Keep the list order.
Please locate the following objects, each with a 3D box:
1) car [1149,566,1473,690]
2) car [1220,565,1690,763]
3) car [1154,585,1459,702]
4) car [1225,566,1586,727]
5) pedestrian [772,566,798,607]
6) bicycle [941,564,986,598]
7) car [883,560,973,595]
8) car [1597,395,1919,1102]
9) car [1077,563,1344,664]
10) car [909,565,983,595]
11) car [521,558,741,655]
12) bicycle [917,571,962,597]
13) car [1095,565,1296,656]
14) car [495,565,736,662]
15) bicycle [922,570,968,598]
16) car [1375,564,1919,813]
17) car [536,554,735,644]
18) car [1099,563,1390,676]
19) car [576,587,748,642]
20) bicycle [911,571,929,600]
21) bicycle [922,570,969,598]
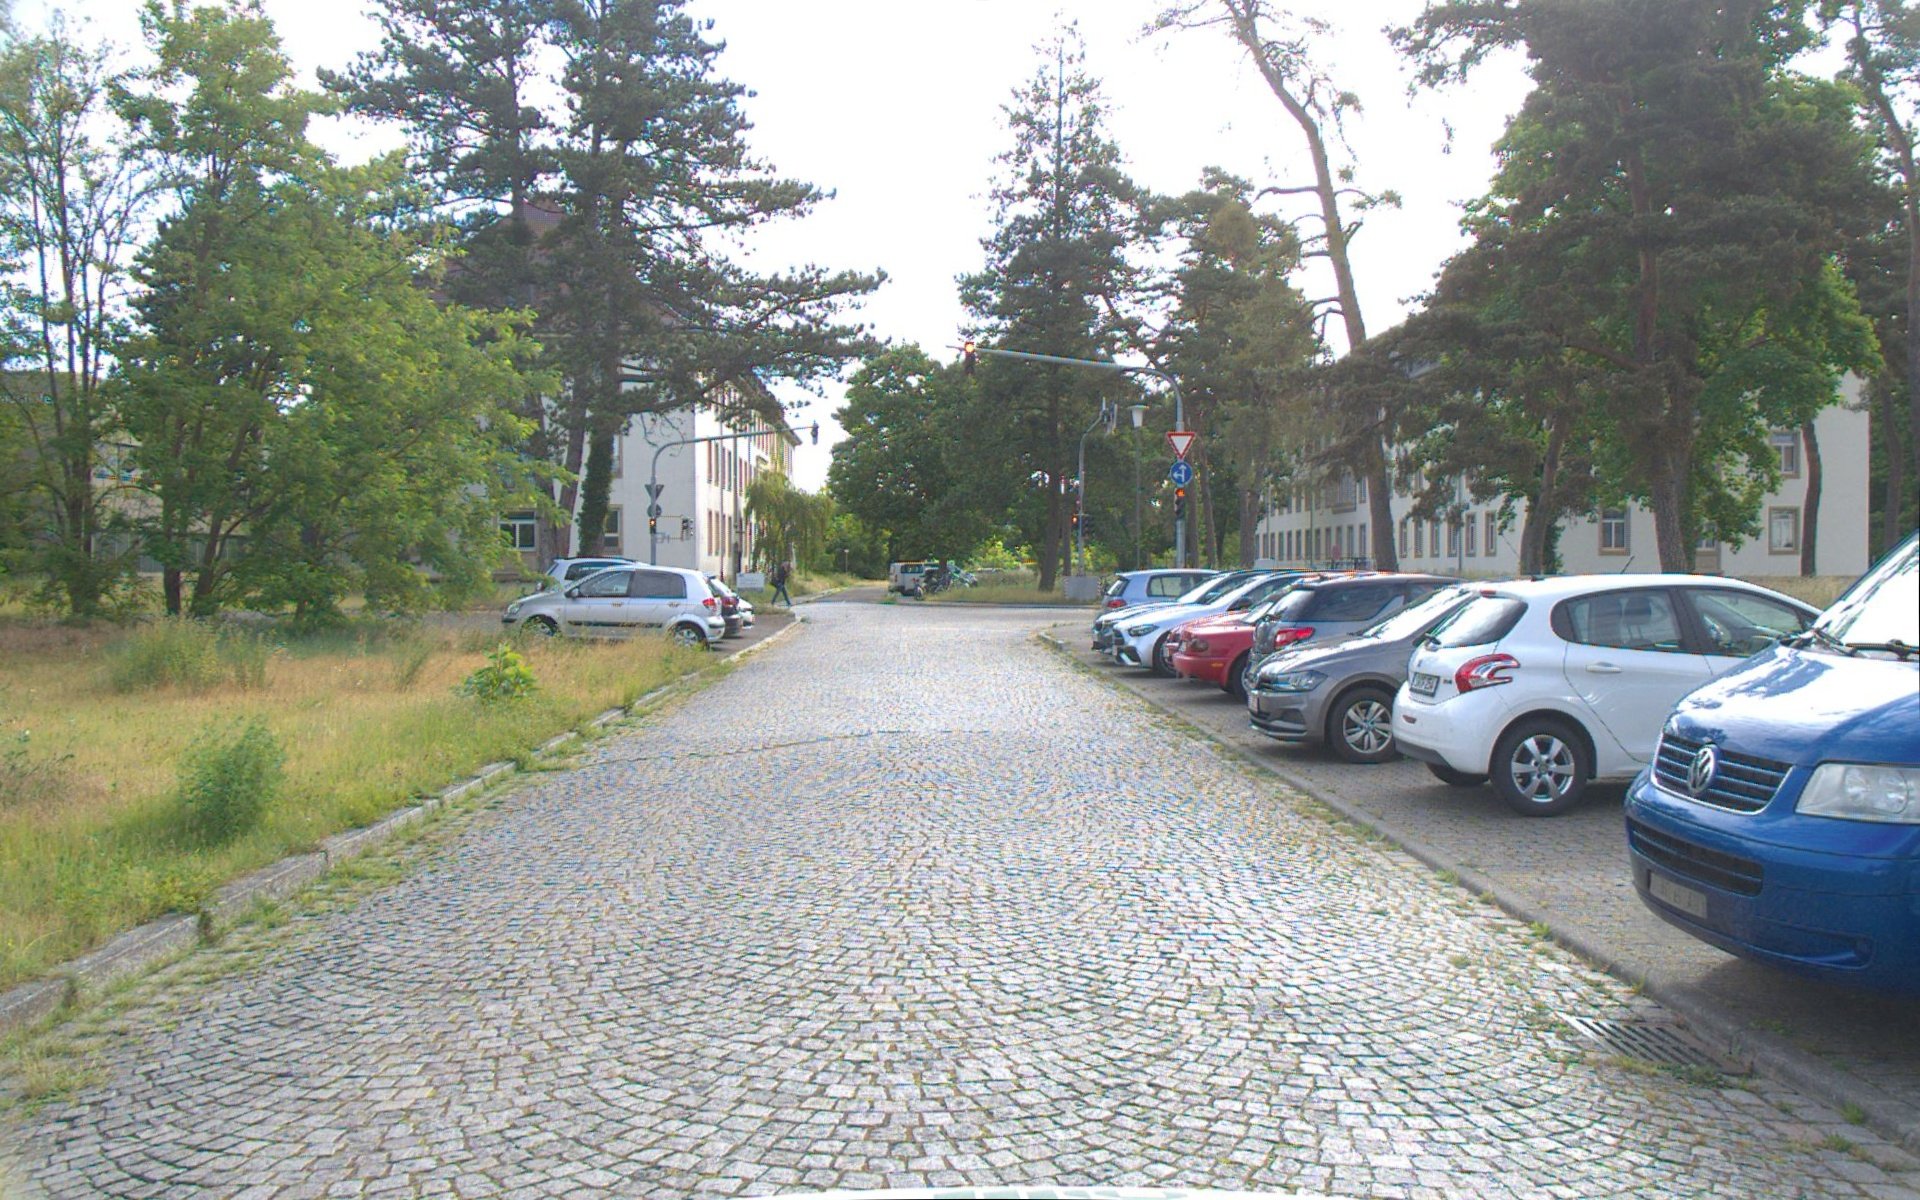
[{"bbox_3d":[4.633,0.338,22.077,3.912,1.570,1.661,0,1,-8],"label":"car"},{"bbox_3d":[4.195,0.480,14.216,3.535,1.533,1.659,-1,1,-13],"label":"car"},{"bbox_3d":[4.098,0.481,19.809,3.230,1.289,1.661,0,1,-8],"label":"car"},{"bbox_3d":[4.561,0.426,17.110,3.235,1.530,1.659,-1,1,-13],"label":"car"},{"bbox_3d":[-6.634,-0.519,62.790,0.880,1.524,0.904,0,1,-1],"label":"pedestrian"},{"bbox_3d":[0.165,-0.934,79.811,2.120,1.644,0.811,0,1,-9],"label":"bicycle"},{"bbox_3d":[-1.853,-1.314,96.263,4.962,2.049,1.994,0,1,-13],"label":"car"},{"bbox_3d":[4.921,0.413,5.856,4.687,2.075,1.737,0,1,-3],"label":"car"},{"bbox_3d":[4.060,0.194,27.103,4.045,1.570,1.661,0,1,-8],"label":"car"},{"bbox_3d":[-0.798,-1.137,93.027,3.912,1.673,1.997,0,1,-8],"label":"car"},{"bbox_3d":[-6.072,0.083,30.953,3.912,1.735,1.997,0,1,-8],"label":"car"},{"bbox_3d":[-0.996,-0.780,80.271,2.120,1.290,0.811,0,1,-9],"label":"bicycle"},{"bbox_3d":[4.198,0.161,29.680,3.325,1.570,1.389,0,1,-8],"label":"car"},{"bbox_3d":[-5.833,0.192,28.475,3.912,1.579,1.997,0,1,-8],"label":"car"},{"bbox_3d":[-0.724,-0.767,79.068,2.120,1.290,0.811,0,1,-9],"label":"bicycle"},{"bbox_3d":[4.664,0.530,11.243,3.227,1.531,1.663,0,1,-4],"label":"car"},{"bbox_3d":[-6.618,-0.034,34.038,3.913,1.780,1.923,0,1,-9],"label":"car"},{"bbox_3d":[4.136,0.248,24.289,3.912,1.570,1.661,0,1,-8],"label":"car"},{"bbox_3d":[-6.448,0.298,36.100,3.602,1.113,1.643,0,1,-8],"label":"car"},{"bbox_3d":[-1.804,-0.655,74.677,0.793,1.290,1.973,0,1,-1],"label":"bicycle"},{"bbox_3d":[-0.700,-0.763,78.481,2.120,1.290,0.811,0,1,-9],"label":"bicycle"}]
